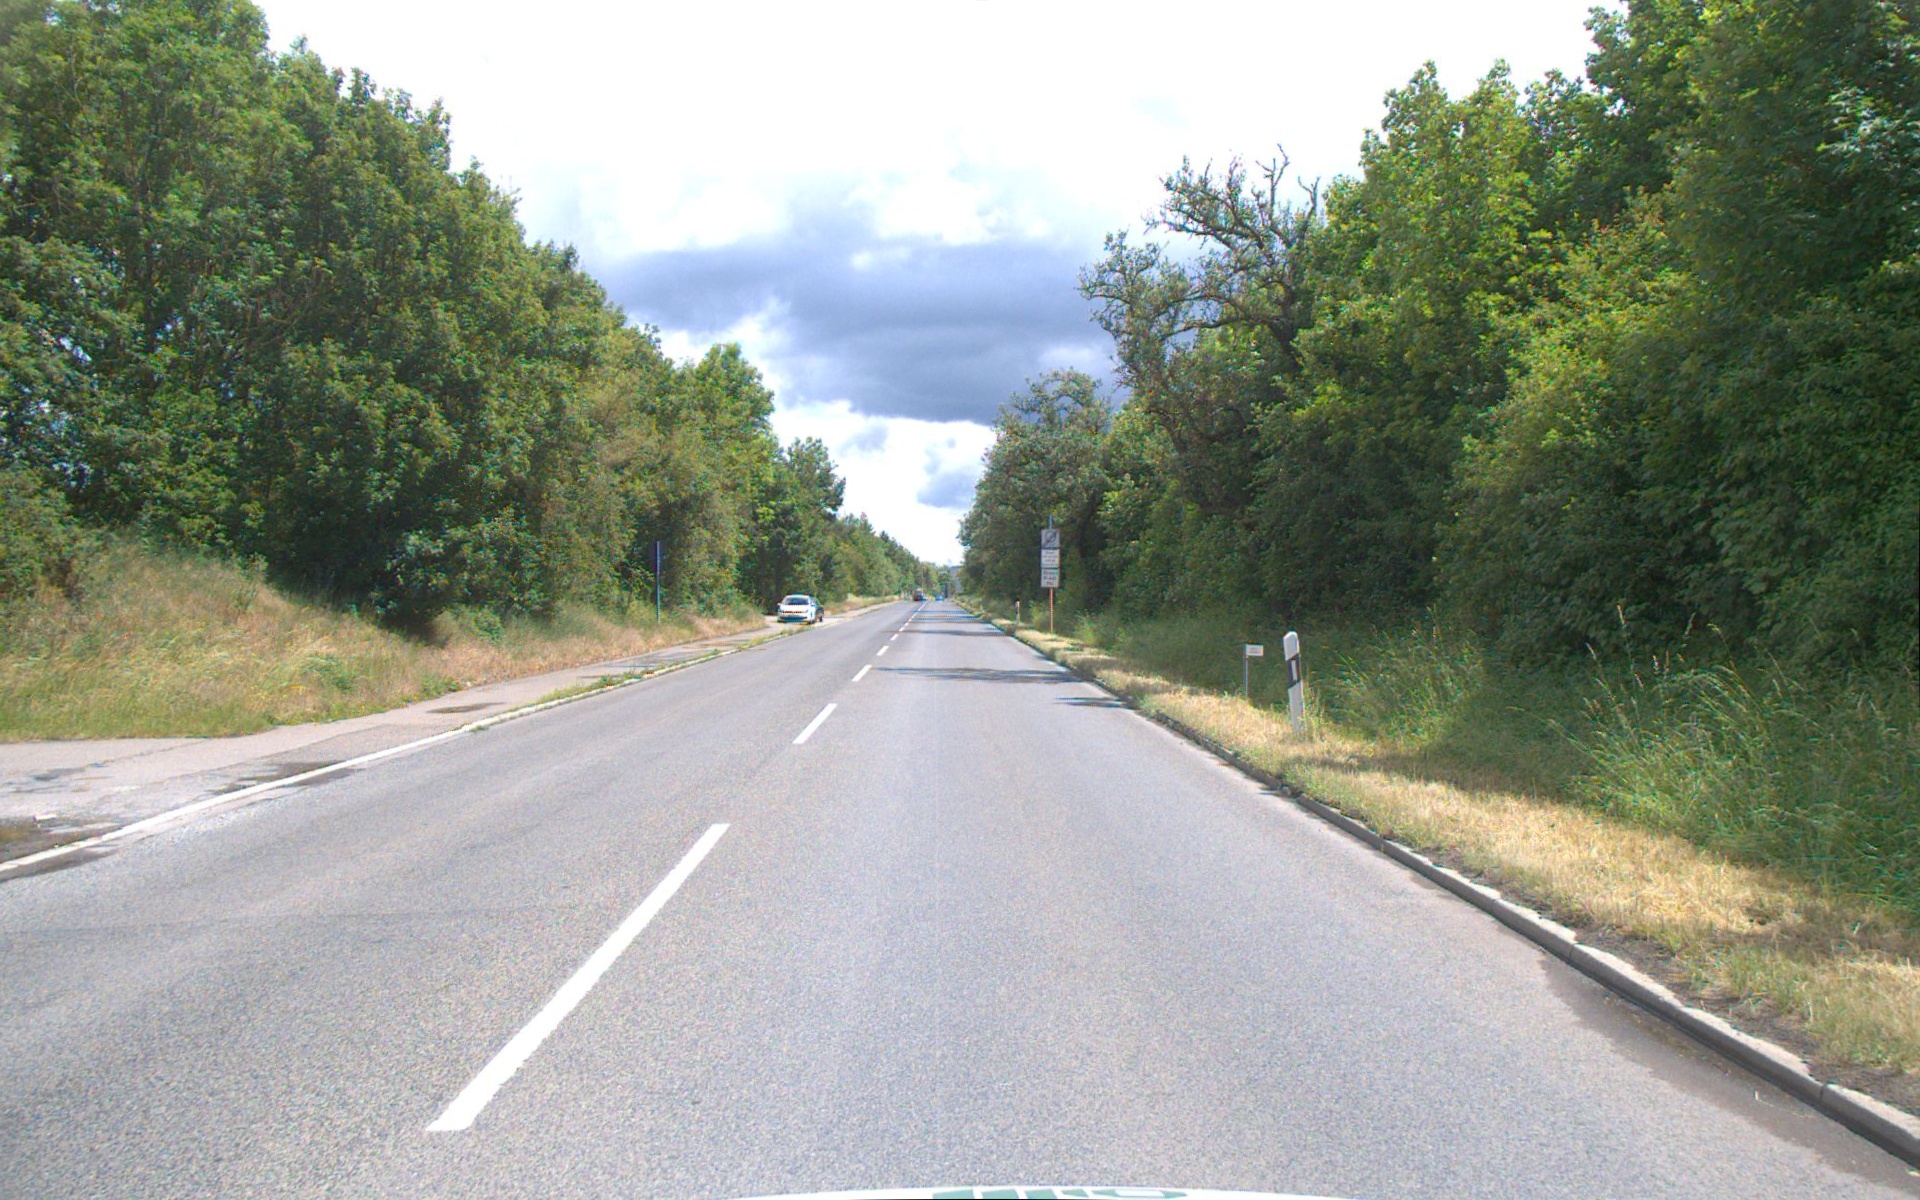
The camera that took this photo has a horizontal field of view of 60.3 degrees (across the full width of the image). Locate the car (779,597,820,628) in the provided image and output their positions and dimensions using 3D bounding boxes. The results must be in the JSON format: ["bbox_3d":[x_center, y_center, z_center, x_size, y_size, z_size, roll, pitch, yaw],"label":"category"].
[{"bbox_3d":[-8.306,0.664,85.873,1.761,1.570,3.954,-1,-1,-1],"label":"car"}]
